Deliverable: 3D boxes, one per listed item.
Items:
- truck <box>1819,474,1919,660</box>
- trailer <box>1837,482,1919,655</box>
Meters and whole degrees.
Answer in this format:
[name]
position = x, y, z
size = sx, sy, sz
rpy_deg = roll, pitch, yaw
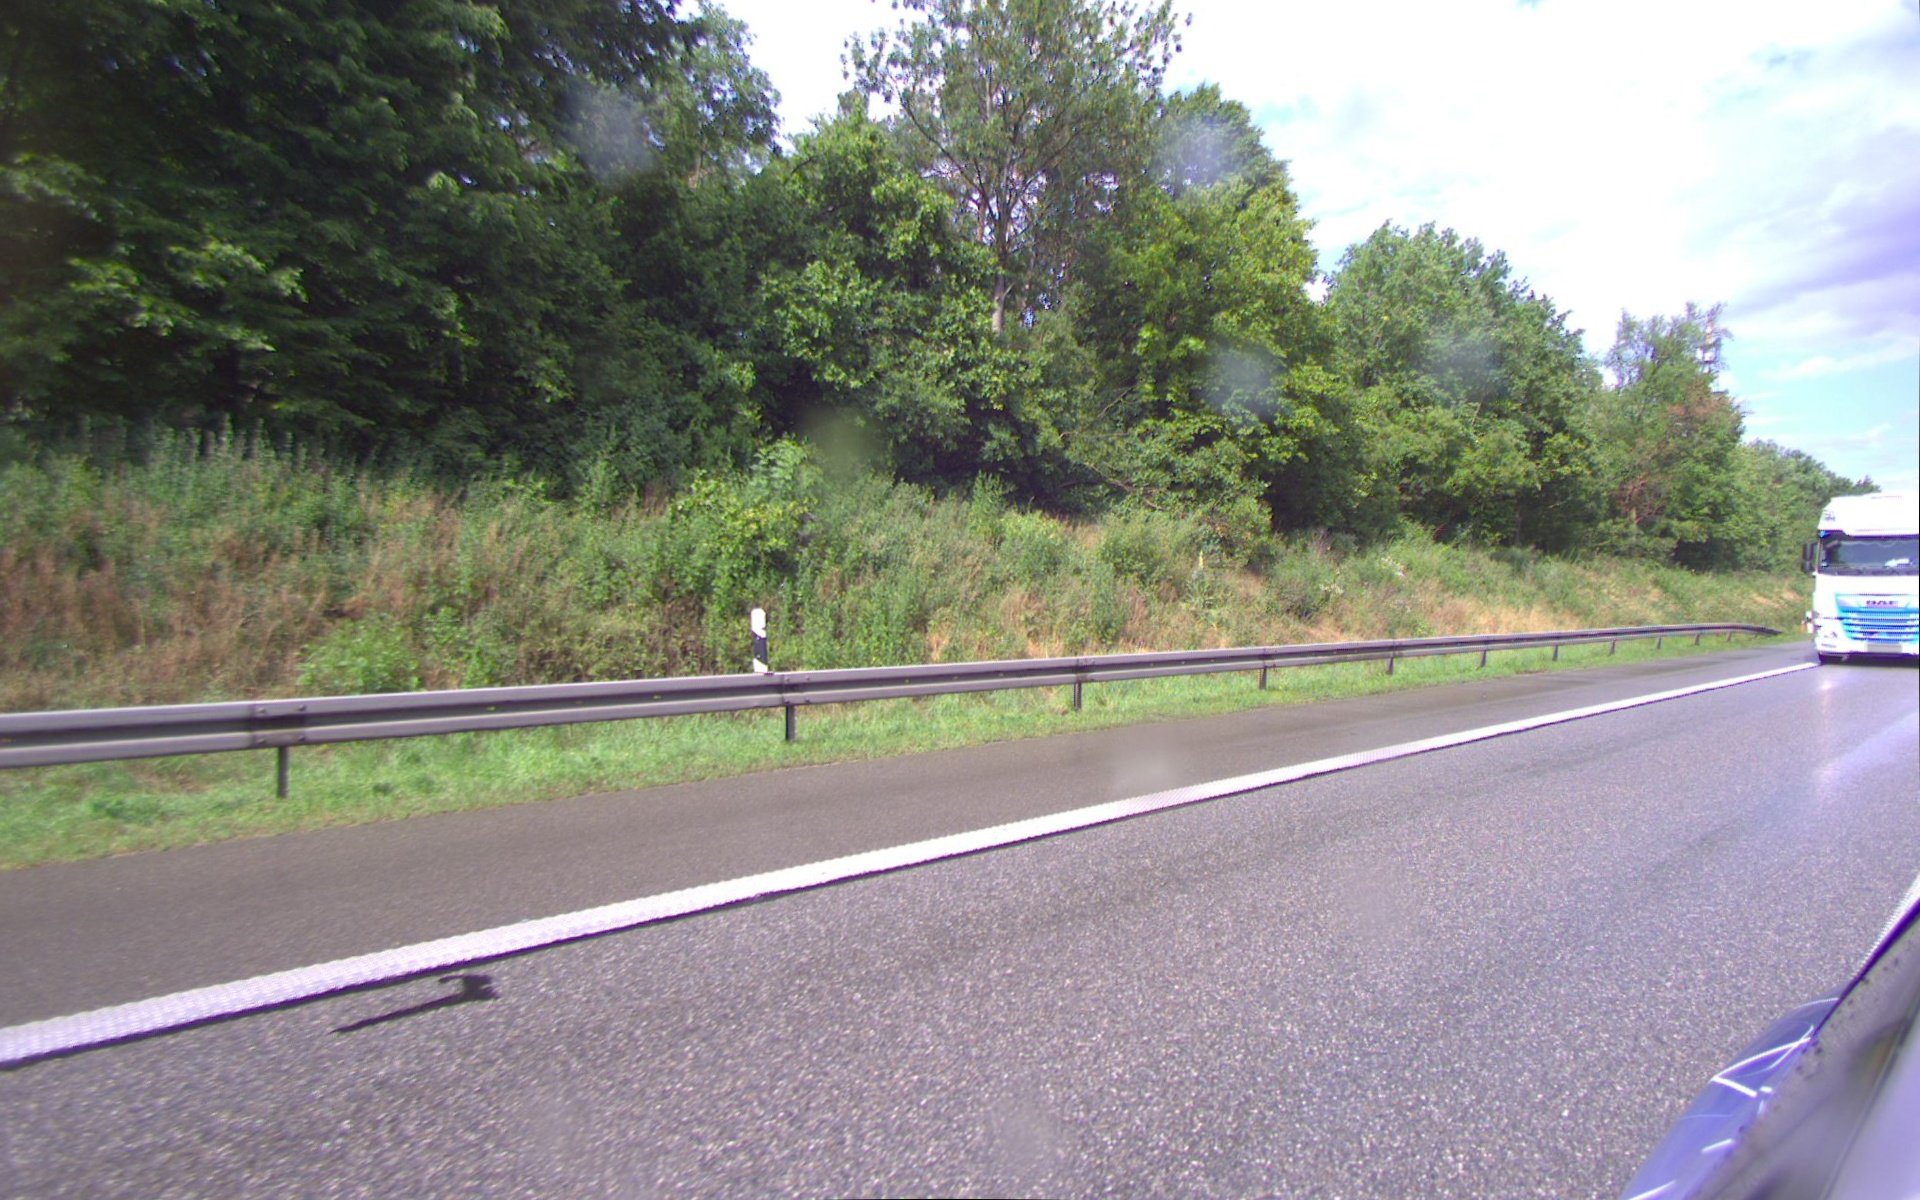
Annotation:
[truck]
position = 23.297, -0.750, 24.646
size = 7.164, 4.046, 2.611
rpy_deg = 0, 0, -42
[trailer]
position = 27.514, -0.787, 28.368
size = 13.821, 4.046, 2.638
rpy_deg = 0, 0, -42
